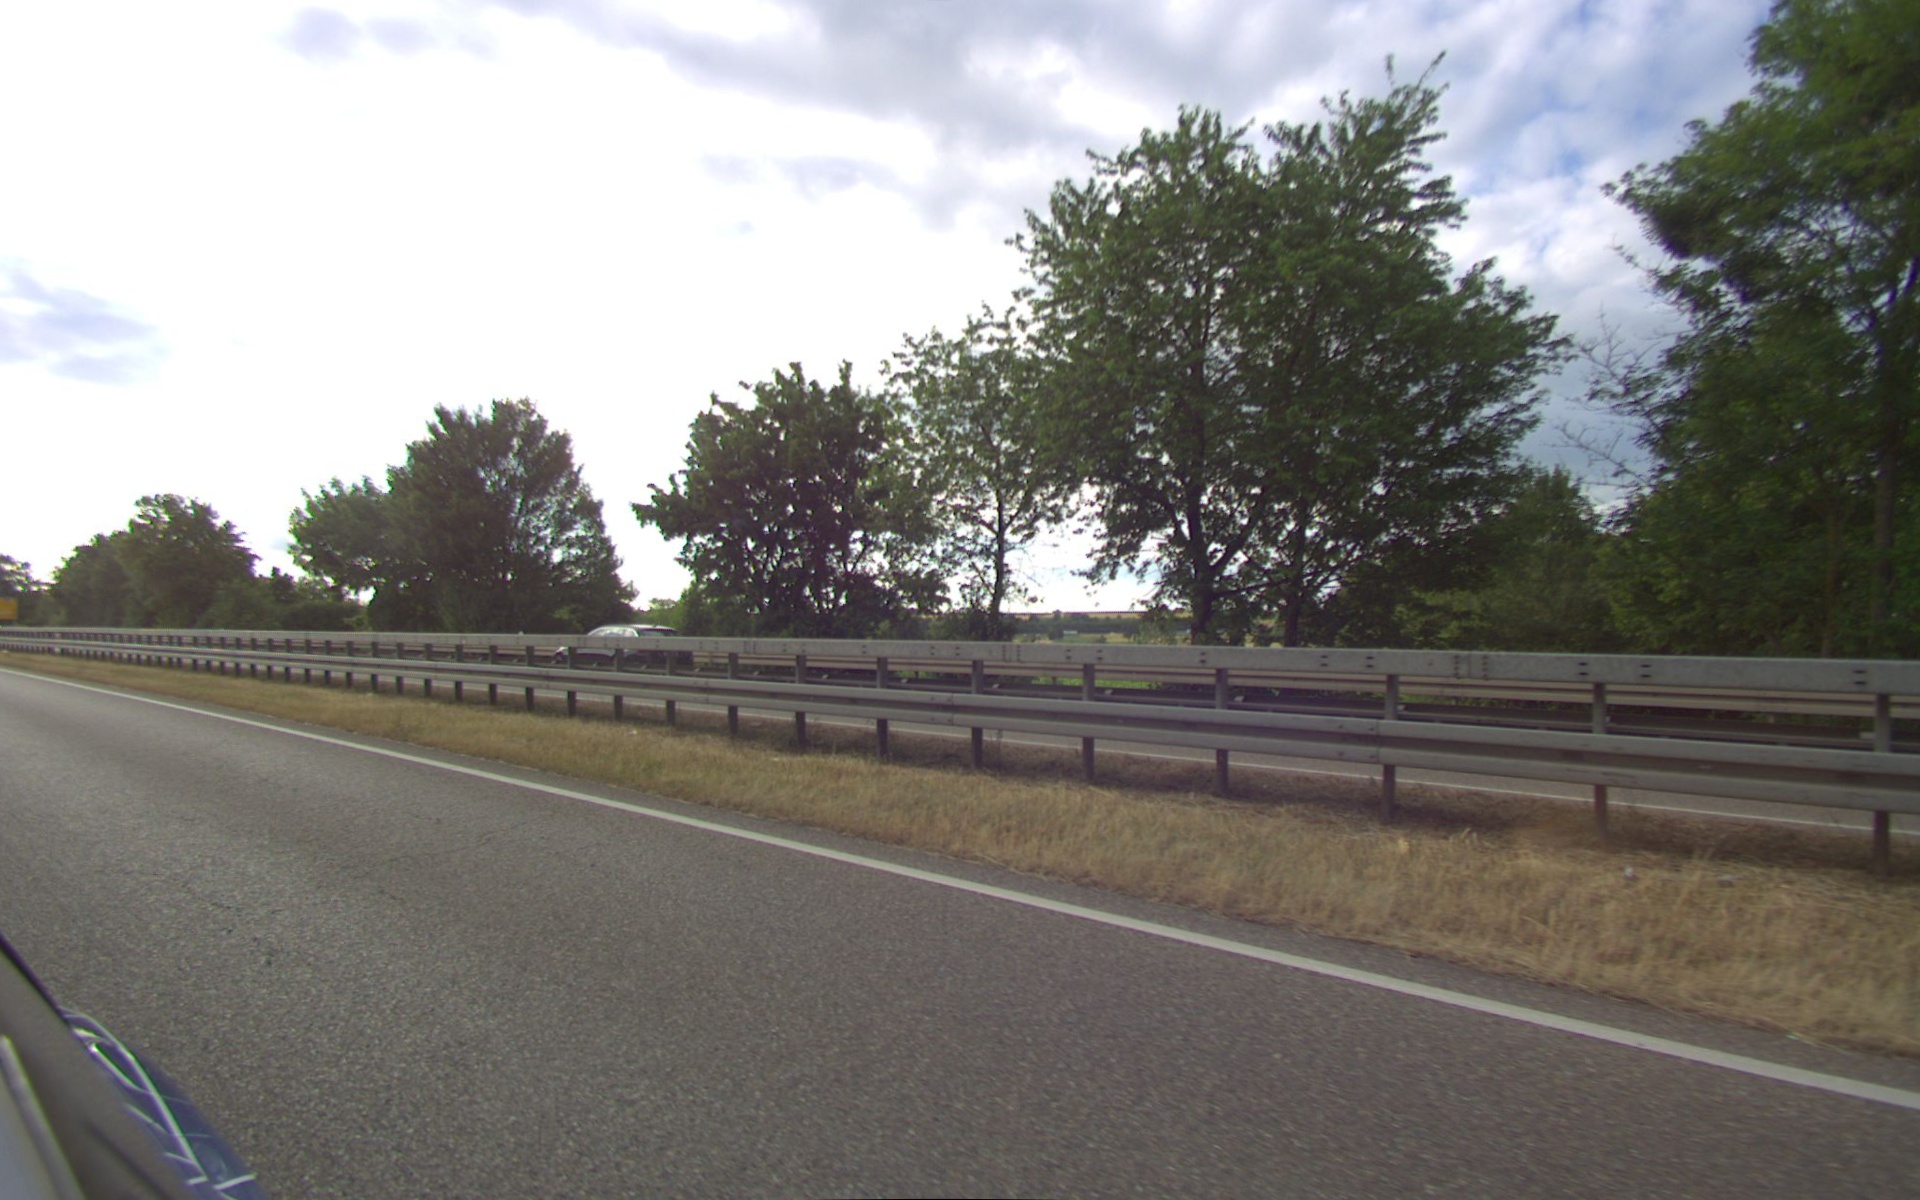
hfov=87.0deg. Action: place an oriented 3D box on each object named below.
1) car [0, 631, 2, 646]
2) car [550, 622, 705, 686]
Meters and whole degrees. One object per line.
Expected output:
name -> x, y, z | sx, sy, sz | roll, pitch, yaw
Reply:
car -> -90.014, 3.561, 93.417 | 4.571, 1.362, 1.763 | -1, -2, 39
car -> -8.883, 1.382, 26.822 | 4.585, 1.556, 1.805 | -1, -3, 41
